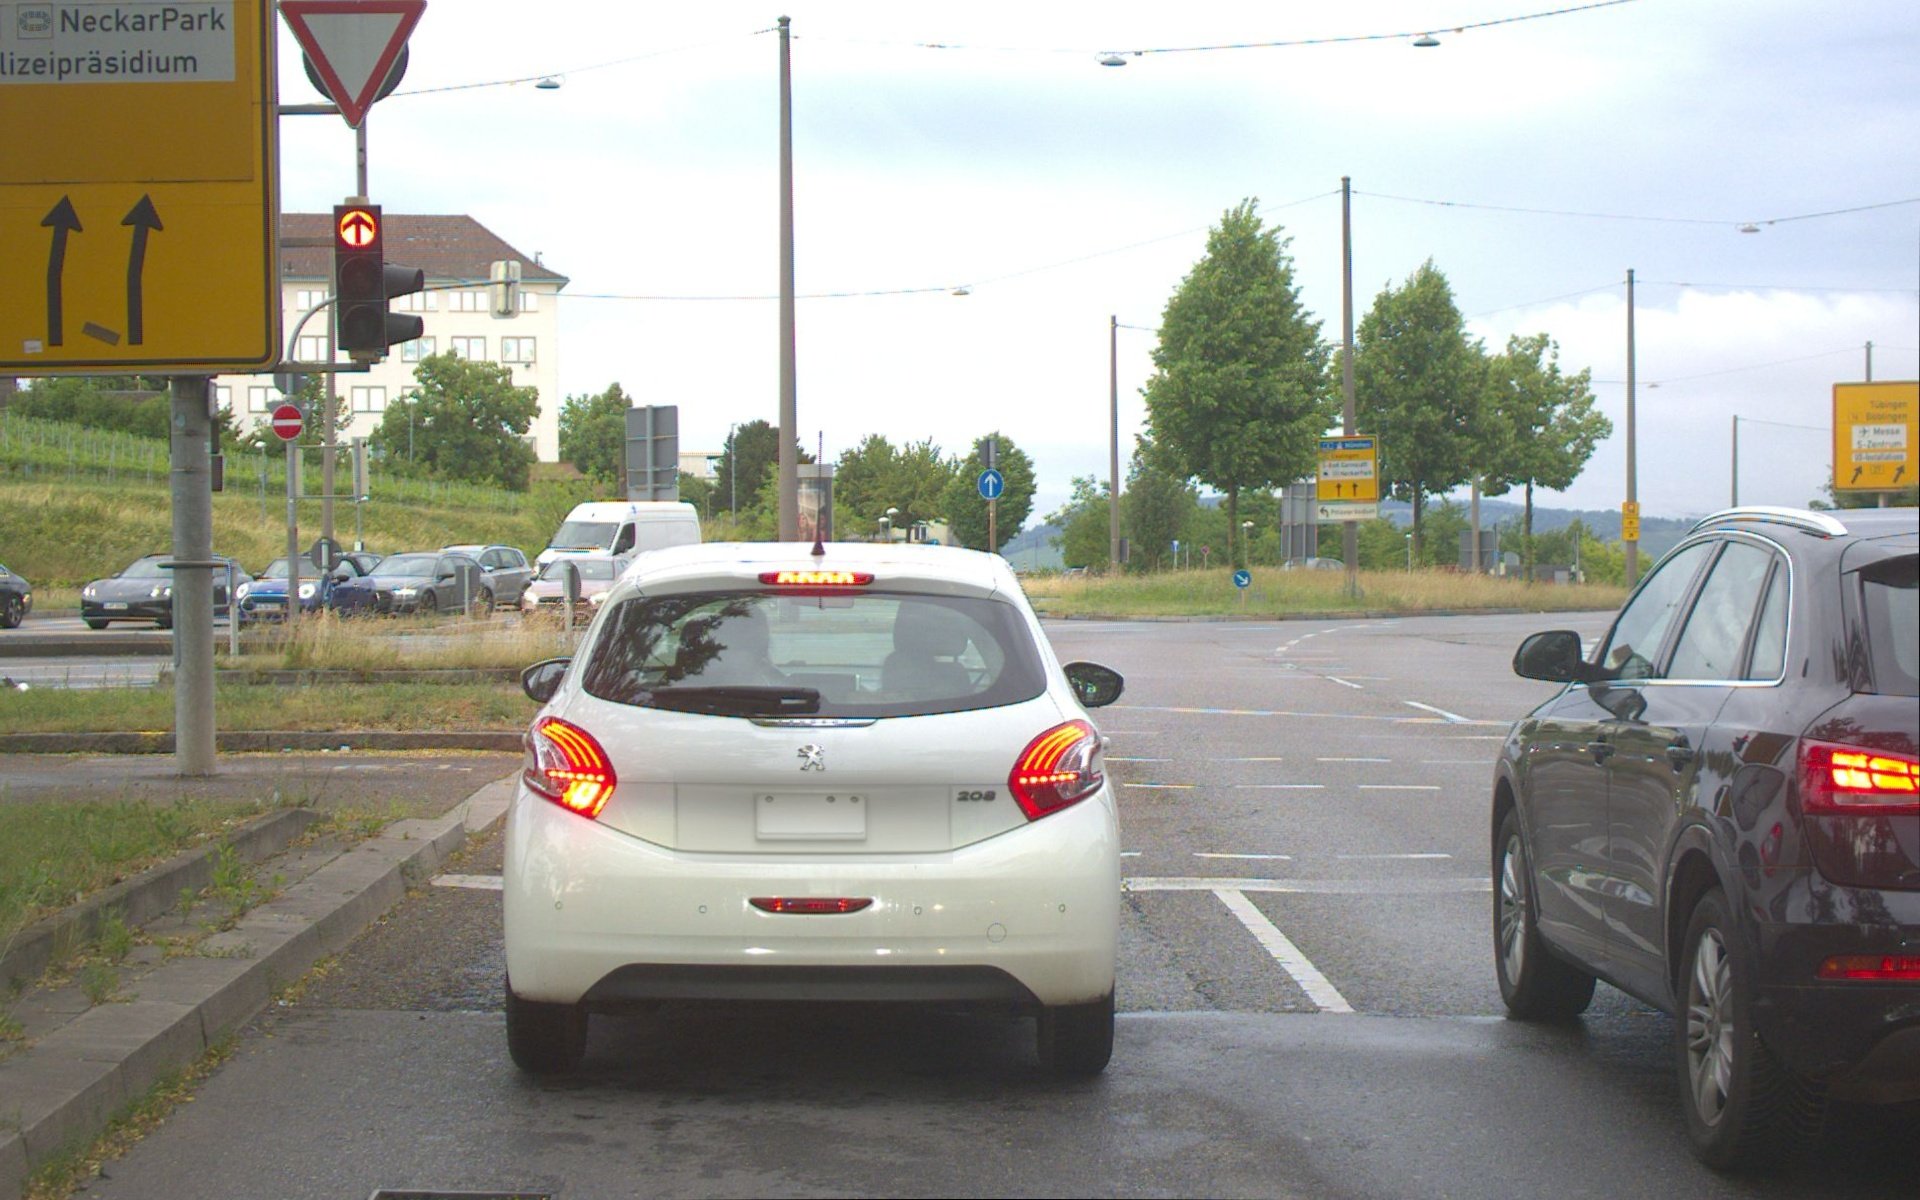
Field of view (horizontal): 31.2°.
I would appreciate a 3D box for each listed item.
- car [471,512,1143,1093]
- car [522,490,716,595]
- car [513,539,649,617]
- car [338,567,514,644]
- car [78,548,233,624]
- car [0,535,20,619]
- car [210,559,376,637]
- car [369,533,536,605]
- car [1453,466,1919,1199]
[{"bbox_3d":[-0.432,0.500,10.866,1.718,1.484,4.000,1,1,-1],"label":"car"},{"bbox_3d":[-8.706,-1.440,88.441,1.996,2.550,6.161,2,1,25],"label":"car"},{"bbox_3d":[-7.184,-0.424,65.558,1.776,1.420,4.373,-1,0,5],"label":"car"},{"bbox_3d":[-10.915,0.103,70.601,1.902,1.484,4.889,1,1,12],"label":"car"},{"bbox_3d":[-15.592,-0.257,66.789,1.787,1.391,3.881,1,0,5],"label":"car"},{"bbox_3d":[-19.473,-0.450,64.850,1.829,1.618,4.565,2,1,5],"label":"car"},{"bbox_3d":[-12.508,-0.026,64.706,1.787,1.391,3.880,1,0,10],"label":"car"},{"bbox_3d":[-11.733,-0.704,79.794,1.996,1.570,4.191,2,1,21],"label":"car"},{"bbox_3d":[2.609,0.522,9.214,1.884,1.590,4.114,2,1,-1],"label":"car"}]
